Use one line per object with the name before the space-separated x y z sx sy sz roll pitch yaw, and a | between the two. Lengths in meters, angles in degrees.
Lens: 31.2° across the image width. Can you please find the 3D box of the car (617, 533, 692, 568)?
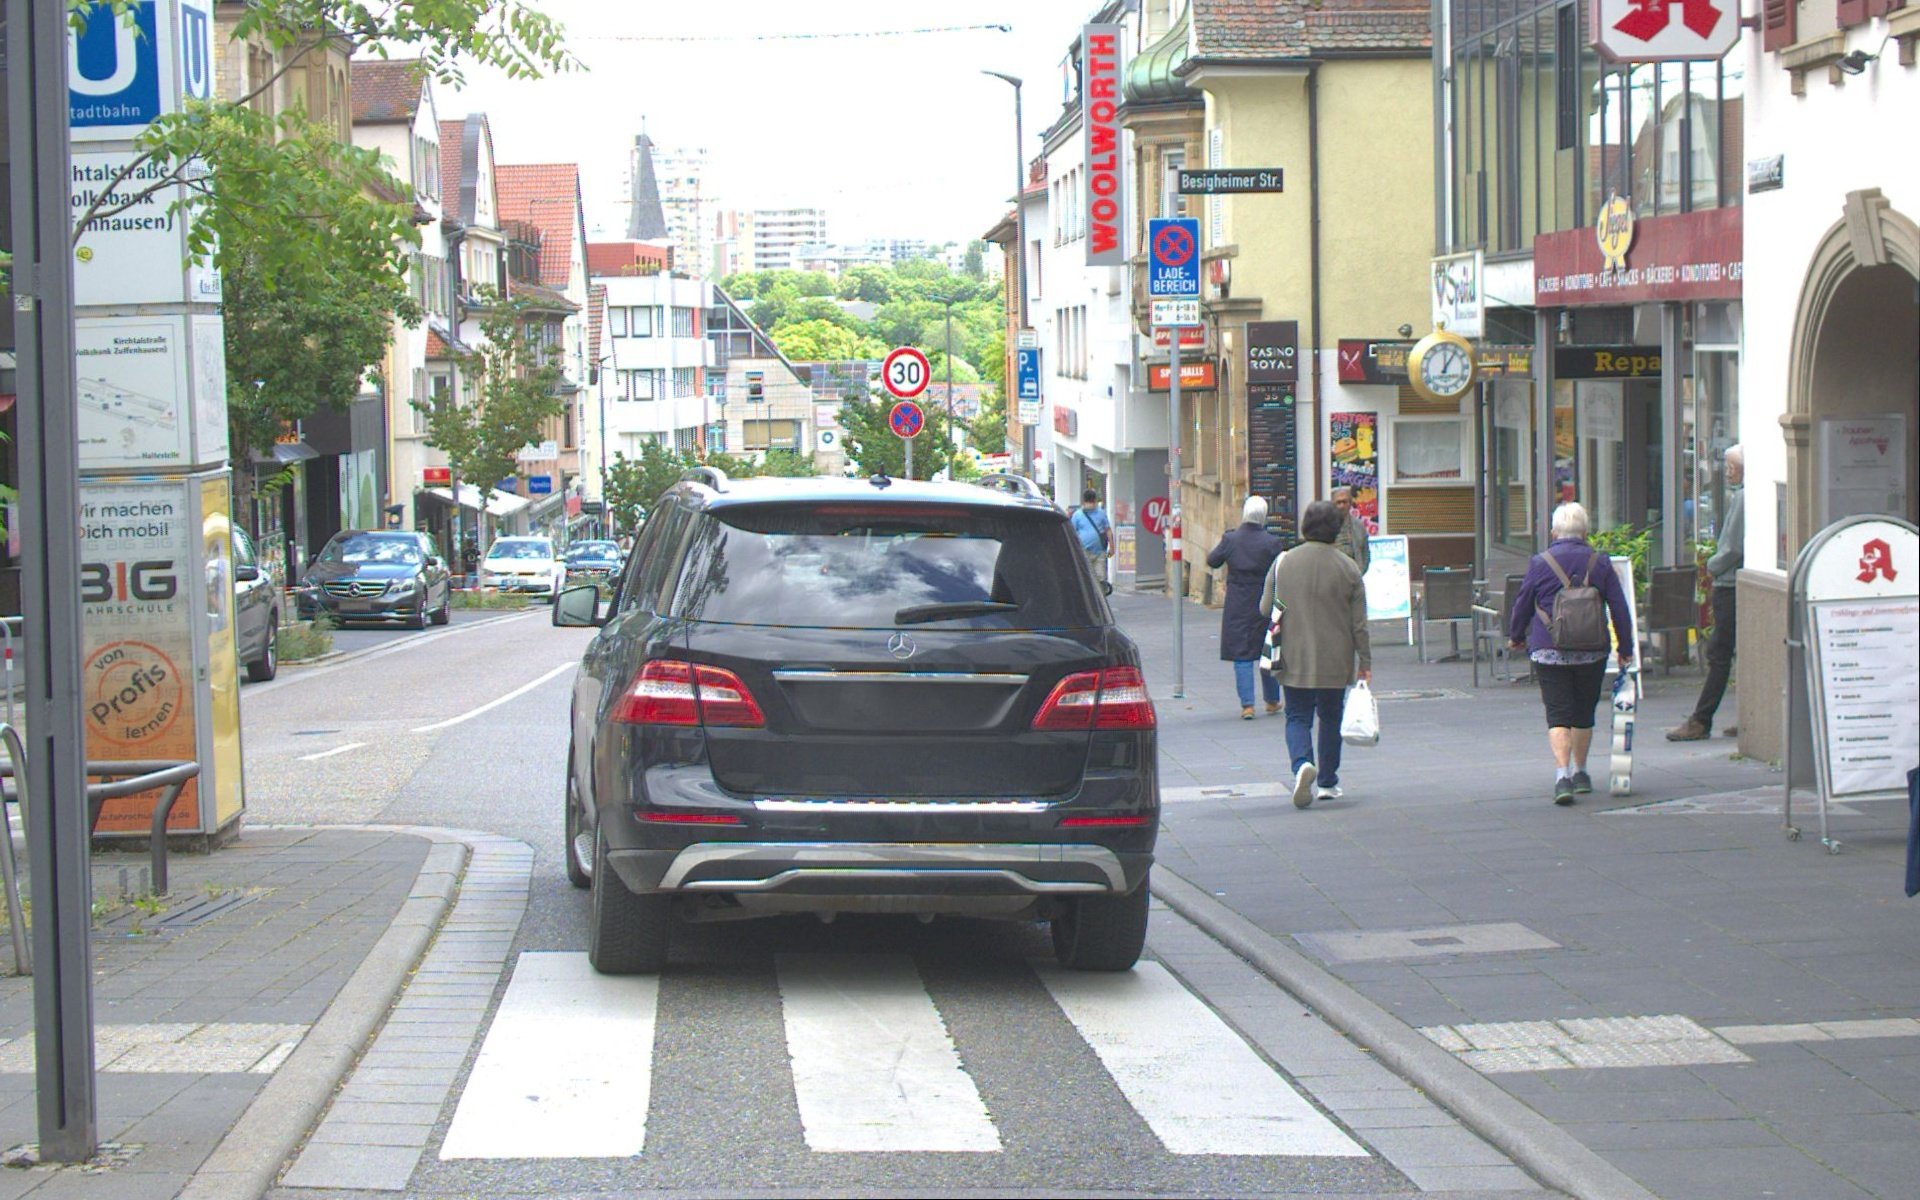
car | -16.695 -2.707 188.079 3.986 1.744 2.000 -3 1 -5

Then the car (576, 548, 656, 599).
car | -9.921 -0.784 99.515 1.926 1.425 4.262 0 1 -1

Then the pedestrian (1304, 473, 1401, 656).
pedestrian | 3.714 -0.343 32.606 0.864 1.701 0.945 -1 1 5

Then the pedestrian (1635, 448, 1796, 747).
pedestrian | 4.572 -0.022 20.846 0.774 1.763 0.817 -1 1 0

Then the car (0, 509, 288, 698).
car | -8.072 -0.023 34.160 2.006 1.688 4.608 1 2 -2

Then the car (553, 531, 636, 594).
car | -9.728 -0.991 91.743 1.926 1.616 4.640 1 0 -3

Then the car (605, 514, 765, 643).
car | -3.440 -0.312 43.592 1.785 1.535 3.745 -1 1 -1

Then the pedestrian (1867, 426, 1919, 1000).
pedestrian | 3.387 0.342 11.052 0.786 1.795 0.676 -1 1 5

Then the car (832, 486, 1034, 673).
car | -0.215 -0.261 35.675 1.877 1.793 4.732 0 1 2

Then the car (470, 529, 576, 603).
car | -9.433 -0.764 74.481 1.926 1.506 4.263 1 1 -3

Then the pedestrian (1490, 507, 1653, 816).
pedestrian | 3.096 0.300 17.470 0.724 1.526 0.808 -1 1 5

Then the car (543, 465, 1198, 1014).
car | -0.524 0.395 13.061 1.943 1.734 4.180 0 1 -9

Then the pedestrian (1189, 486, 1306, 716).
pedestrian | 2.122 0.001 25.397 0.824 1.660 0.802 -1 1 5

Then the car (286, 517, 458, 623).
car | -8.803 -0.486 51.837 1.926 1.487 4.843 1 1 -3

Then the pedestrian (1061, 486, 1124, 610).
pedestrian | 1.888 -0.743 49.059 0.796 1.721 1.053 -1 1 -1

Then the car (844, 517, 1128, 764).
car | 0.140 0.215 24.204 1.803 1.550 3.954 -1 1 -1

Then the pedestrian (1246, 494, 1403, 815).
pedestrian | 1.906 0.272 18.077 0.772 1.639 0.870 -1 1 5
